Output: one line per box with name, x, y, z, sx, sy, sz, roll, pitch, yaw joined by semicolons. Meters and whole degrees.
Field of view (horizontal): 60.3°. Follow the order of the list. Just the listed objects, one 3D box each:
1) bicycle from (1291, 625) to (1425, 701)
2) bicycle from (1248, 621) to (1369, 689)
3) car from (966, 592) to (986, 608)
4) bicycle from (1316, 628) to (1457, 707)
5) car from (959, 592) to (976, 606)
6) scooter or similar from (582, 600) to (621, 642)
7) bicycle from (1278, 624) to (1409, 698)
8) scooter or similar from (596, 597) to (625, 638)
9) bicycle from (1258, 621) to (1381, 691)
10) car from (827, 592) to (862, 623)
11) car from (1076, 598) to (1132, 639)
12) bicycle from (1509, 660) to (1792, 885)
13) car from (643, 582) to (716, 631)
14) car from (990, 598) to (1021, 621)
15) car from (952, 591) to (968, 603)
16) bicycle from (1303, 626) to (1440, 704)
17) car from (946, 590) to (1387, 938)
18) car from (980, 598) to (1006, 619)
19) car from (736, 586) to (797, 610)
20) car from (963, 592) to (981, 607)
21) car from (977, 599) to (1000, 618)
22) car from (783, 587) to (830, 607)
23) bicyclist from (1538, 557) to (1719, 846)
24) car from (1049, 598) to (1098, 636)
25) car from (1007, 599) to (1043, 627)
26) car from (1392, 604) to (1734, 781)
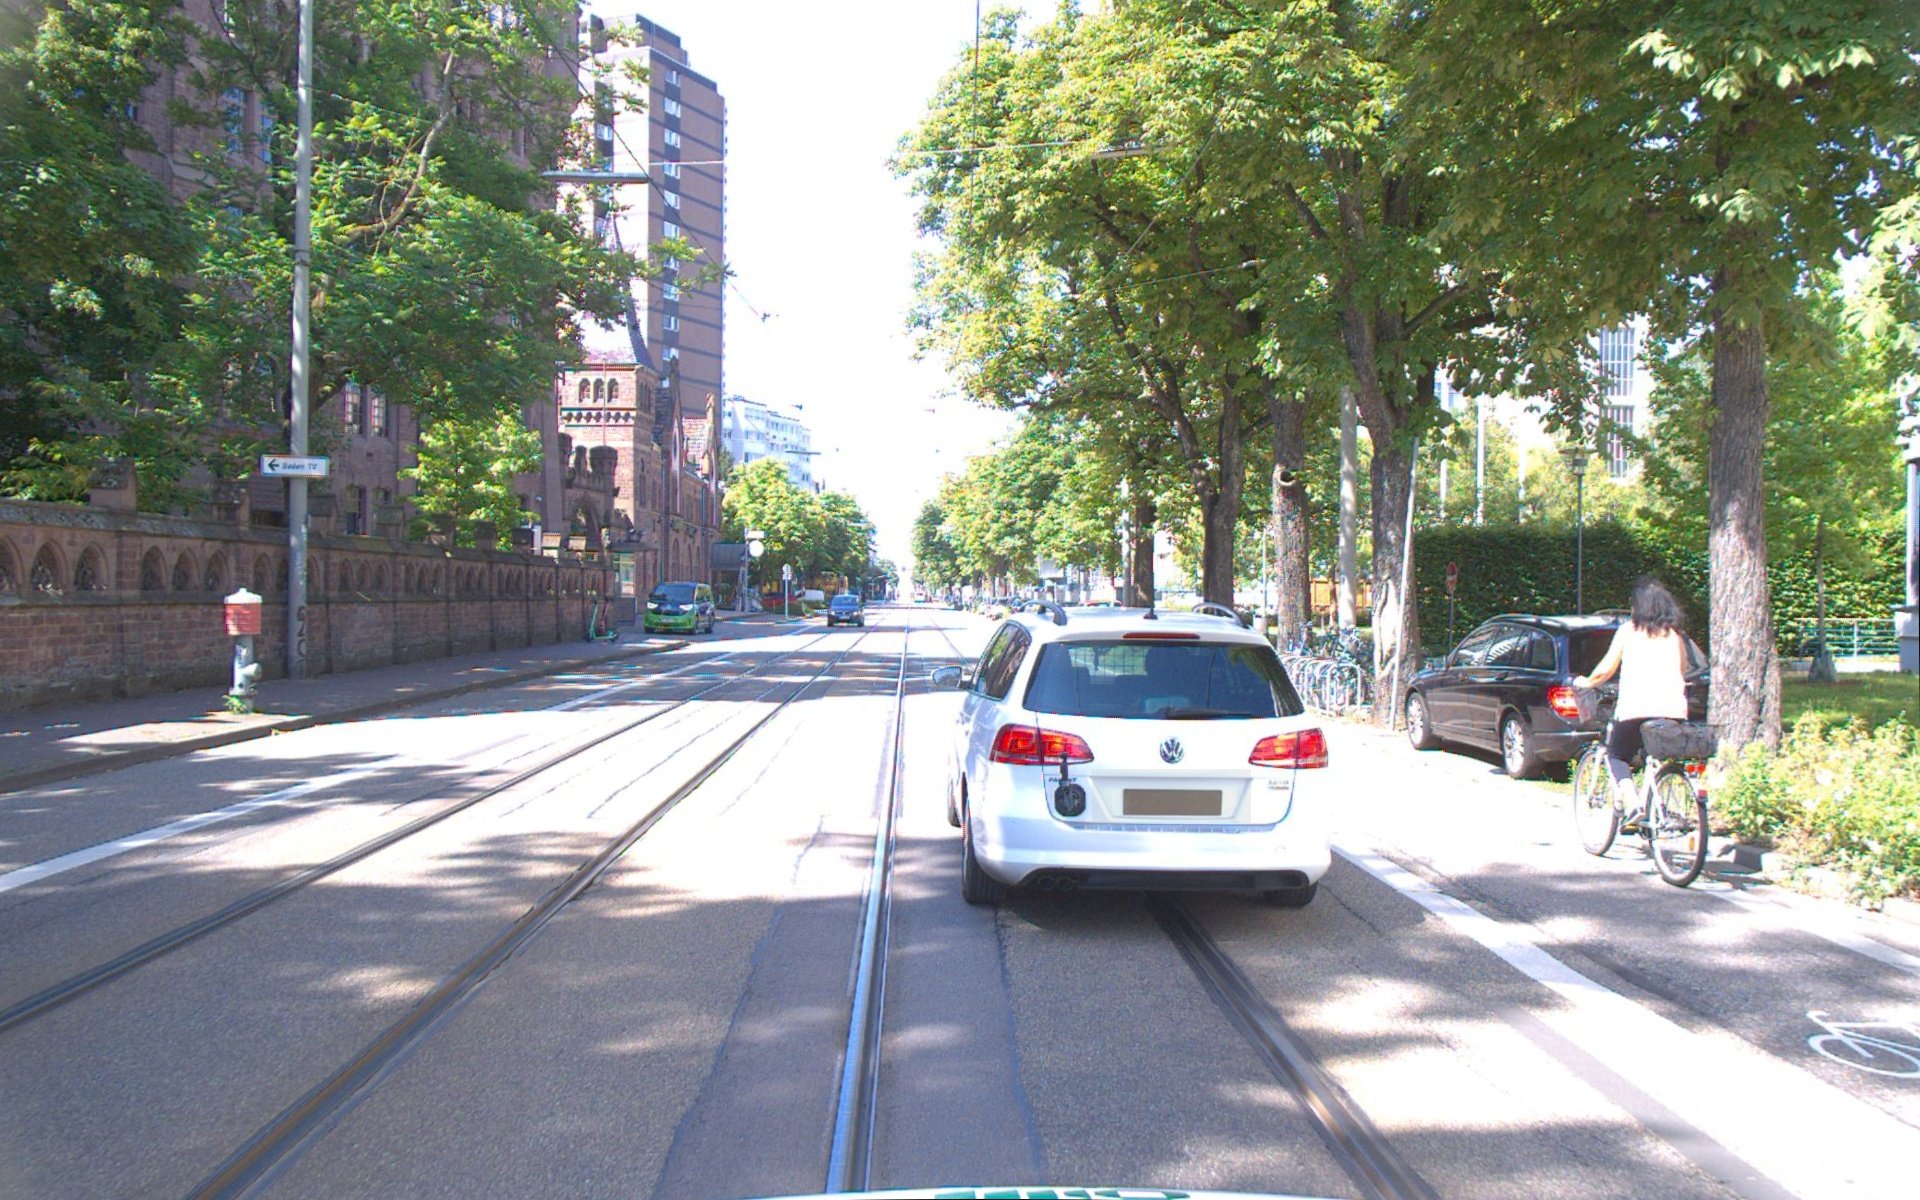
bicycle;5.541;0.867;23.037;1.753;1.028;0.487;0;0;-7
bicycle;5.350;0.834;25.407;1.753;1.028;0.487;0;0;-7
car;1.422;0.020;149.802;1.678;1.425;3.842;0;0;-1
bicycle;5.631;0.883;21.879;1.753;1.028;0.487;0;0;-7
car;0.784;-0.109;170.266;1.678;1.425;3.842;0;0;-1
scooter or similar;-10.126;0.589;46.785;0.397;1.175;1.140;0;0;32
bicycle;5.471;0.859;23.617;1.753;1.028;0.487;0;0;-7
scooter or similar;-10.617;0.514;50.276;0.413;1.221;1.144;0;0;13
bicycle;5.403;0.842;24.889;1.753;1.028;0.487;0;0;-7
car;-5.450;0.335;78.527;1.463;1.409;3.642;0;0;-1
car;4.745;0.597;54.966;1.677;1.303;3.844;0;0;2
bicycle;4.000;0.952;9.784;0.794;1.097;2.011;1;0;-1
car;-10.692;0.238;63.313;1.952;1.788;4.712;0;0;1
car;2.866;0.567;104.615;1.679;1.425;3.841;0;0;-2
car;-0.008;-0.352;191.370;1.678;1.425;3.842;0;0;-1
bicycle;5.582;0.875;22.461;1.753;1.028;0.487;0;0;-7
car;0.870;0.723;9.244;1.719;1.467;4.410;1;-1;-3
car;2.327;0.579;117.099;1.678;1.425;3.842;0;0;-1
car;-14.278;-0.125;122.167;4.062;1.557;1.919;2;0;-23
car;1.160;-0.068;161.030;1.678;1.425;3.842;0;0;-1
car;2.238;0.674;130.067;1.678;1.425;3.842;0;0;-1
car;-14.398;-0.249;155.326;3.958;1.847;1.973;0;0;-38
bicyclist;3.961;0.579;9.850;0.770;1.657;0.738;0;0;-2
car;4.398;0.651;64.451;1.678;1.425;3.843;0;0;0
car;3.366;0.672;86.737;1.678;1.425;3.842;0;0;-1
car;5.748;0.794;16.412;1.630;1.469;4.632;0;0;-1
